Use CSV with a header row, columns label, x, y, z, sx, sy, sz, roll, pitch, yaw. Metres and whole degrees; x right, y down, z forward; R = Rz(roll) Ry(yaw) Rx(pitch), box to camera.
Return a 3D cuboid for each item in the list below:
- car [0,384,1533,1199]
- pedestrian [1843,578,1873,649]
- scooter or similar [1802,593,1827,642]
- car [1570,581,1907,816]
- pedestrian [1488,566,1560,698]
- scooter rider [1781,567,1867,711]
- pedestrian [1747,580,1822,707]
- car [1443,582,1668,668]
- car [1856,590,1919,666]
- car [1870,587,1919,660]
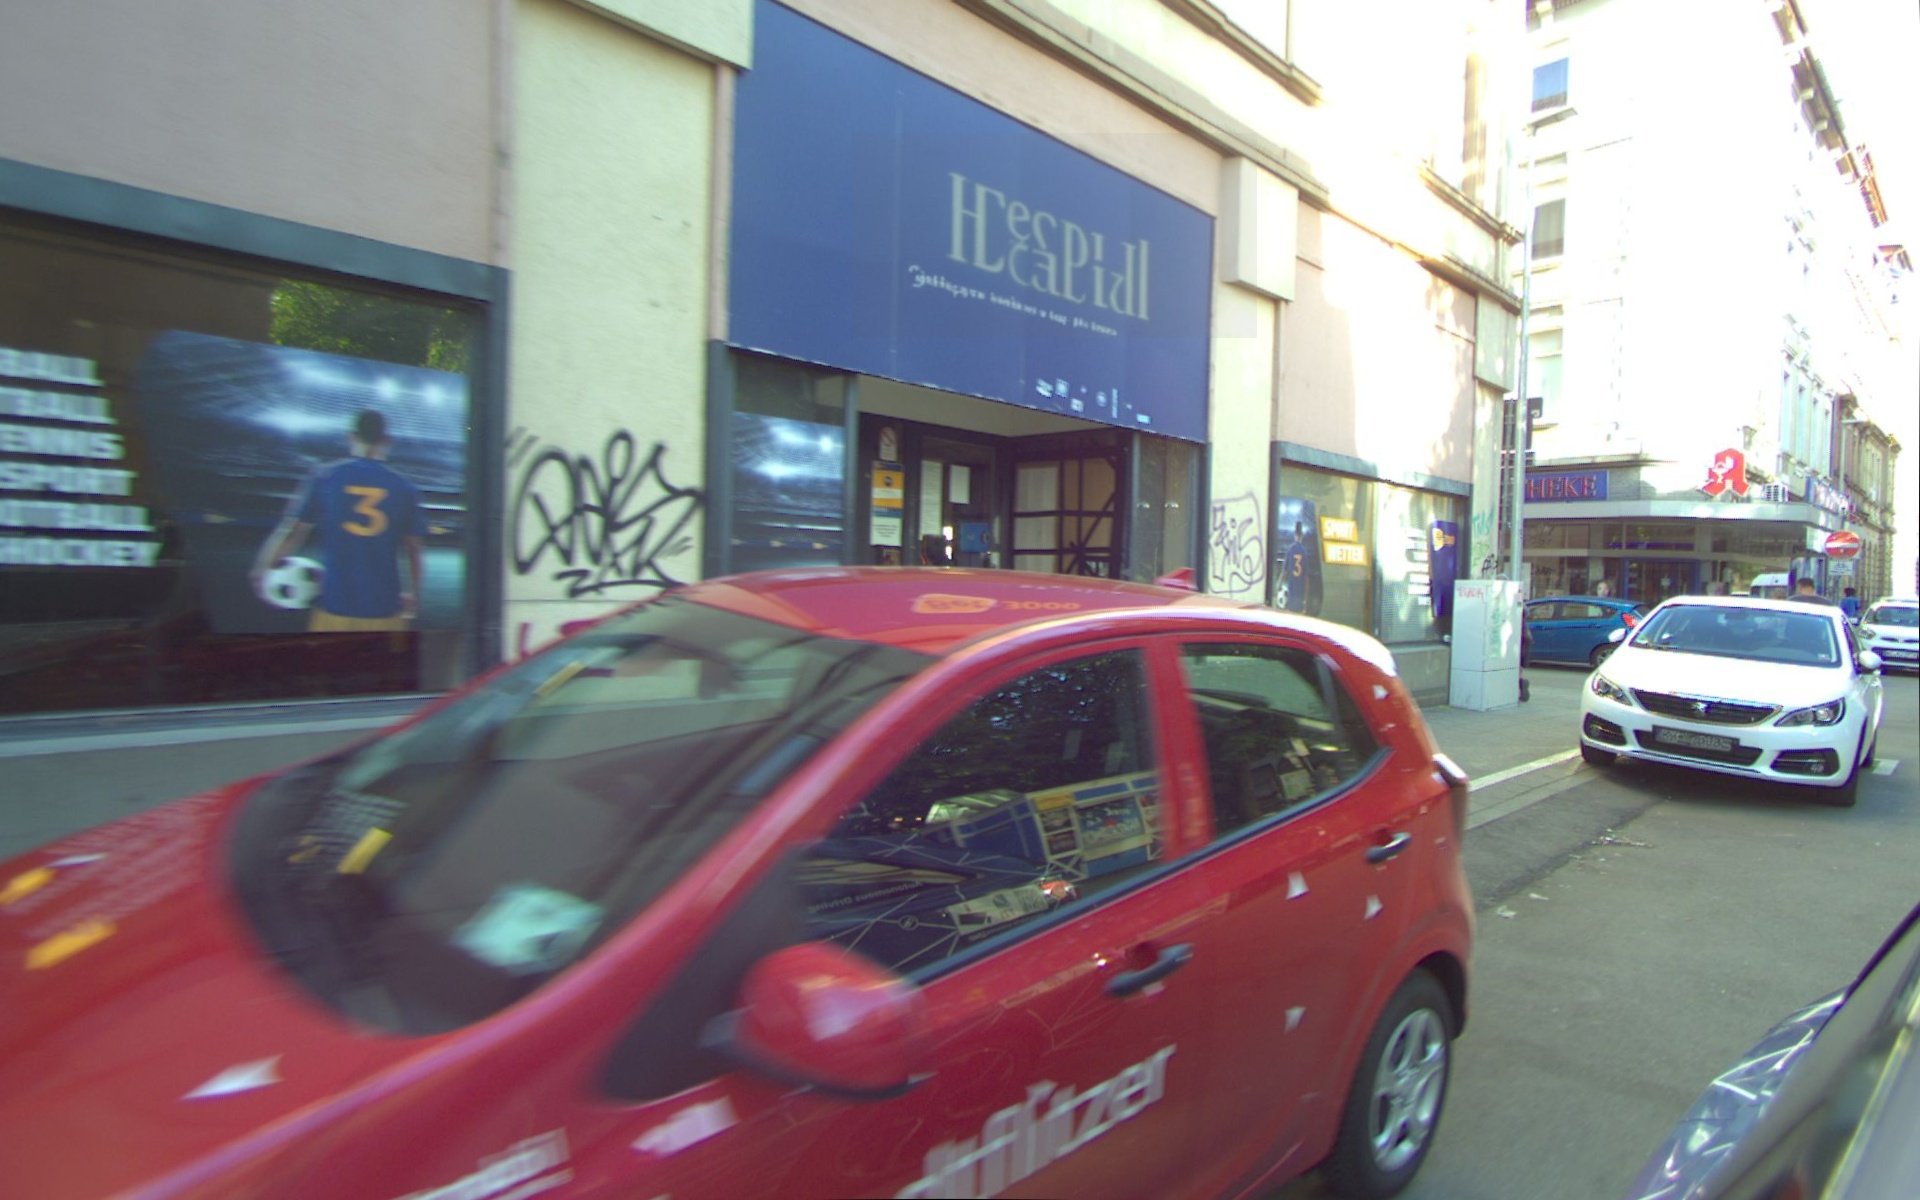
label,x,y,z,sx,sy,sz,roll,pitch,yaw
car,-0.205,0.611,2.263,3.494,1.592,1.608,-1,1,-43
pedestrian,24.837,0.364,28.003,0.521,1.917,0.562,0,1,-43
scooter or similar,23.336,0.474,27.630,1.019,1.296,0.395,-1,1,-43
car,6.850,0.611,8.735,4.069,1.535,1.788,-1,2,-45
pedestrian,7.355,0.405,13.209,0.455,1.671,0.602,3,0,-11
scooter rider,11.024,0.479,12.926,0.554,1.800,0.612,0,1,-2
pedestrian,10.976,0.567,13.482,0.555,1.659,0.528,0,1,2
car,12.047,0.432,20.619,1.758,1.504,3.579,0,2,-42
car,20.262,0.538,21.471,1.690,1.481,3.582,1,1,45
car,23.688,0.523,24.842,3.997,1.671,1.701,-1,1,-44
